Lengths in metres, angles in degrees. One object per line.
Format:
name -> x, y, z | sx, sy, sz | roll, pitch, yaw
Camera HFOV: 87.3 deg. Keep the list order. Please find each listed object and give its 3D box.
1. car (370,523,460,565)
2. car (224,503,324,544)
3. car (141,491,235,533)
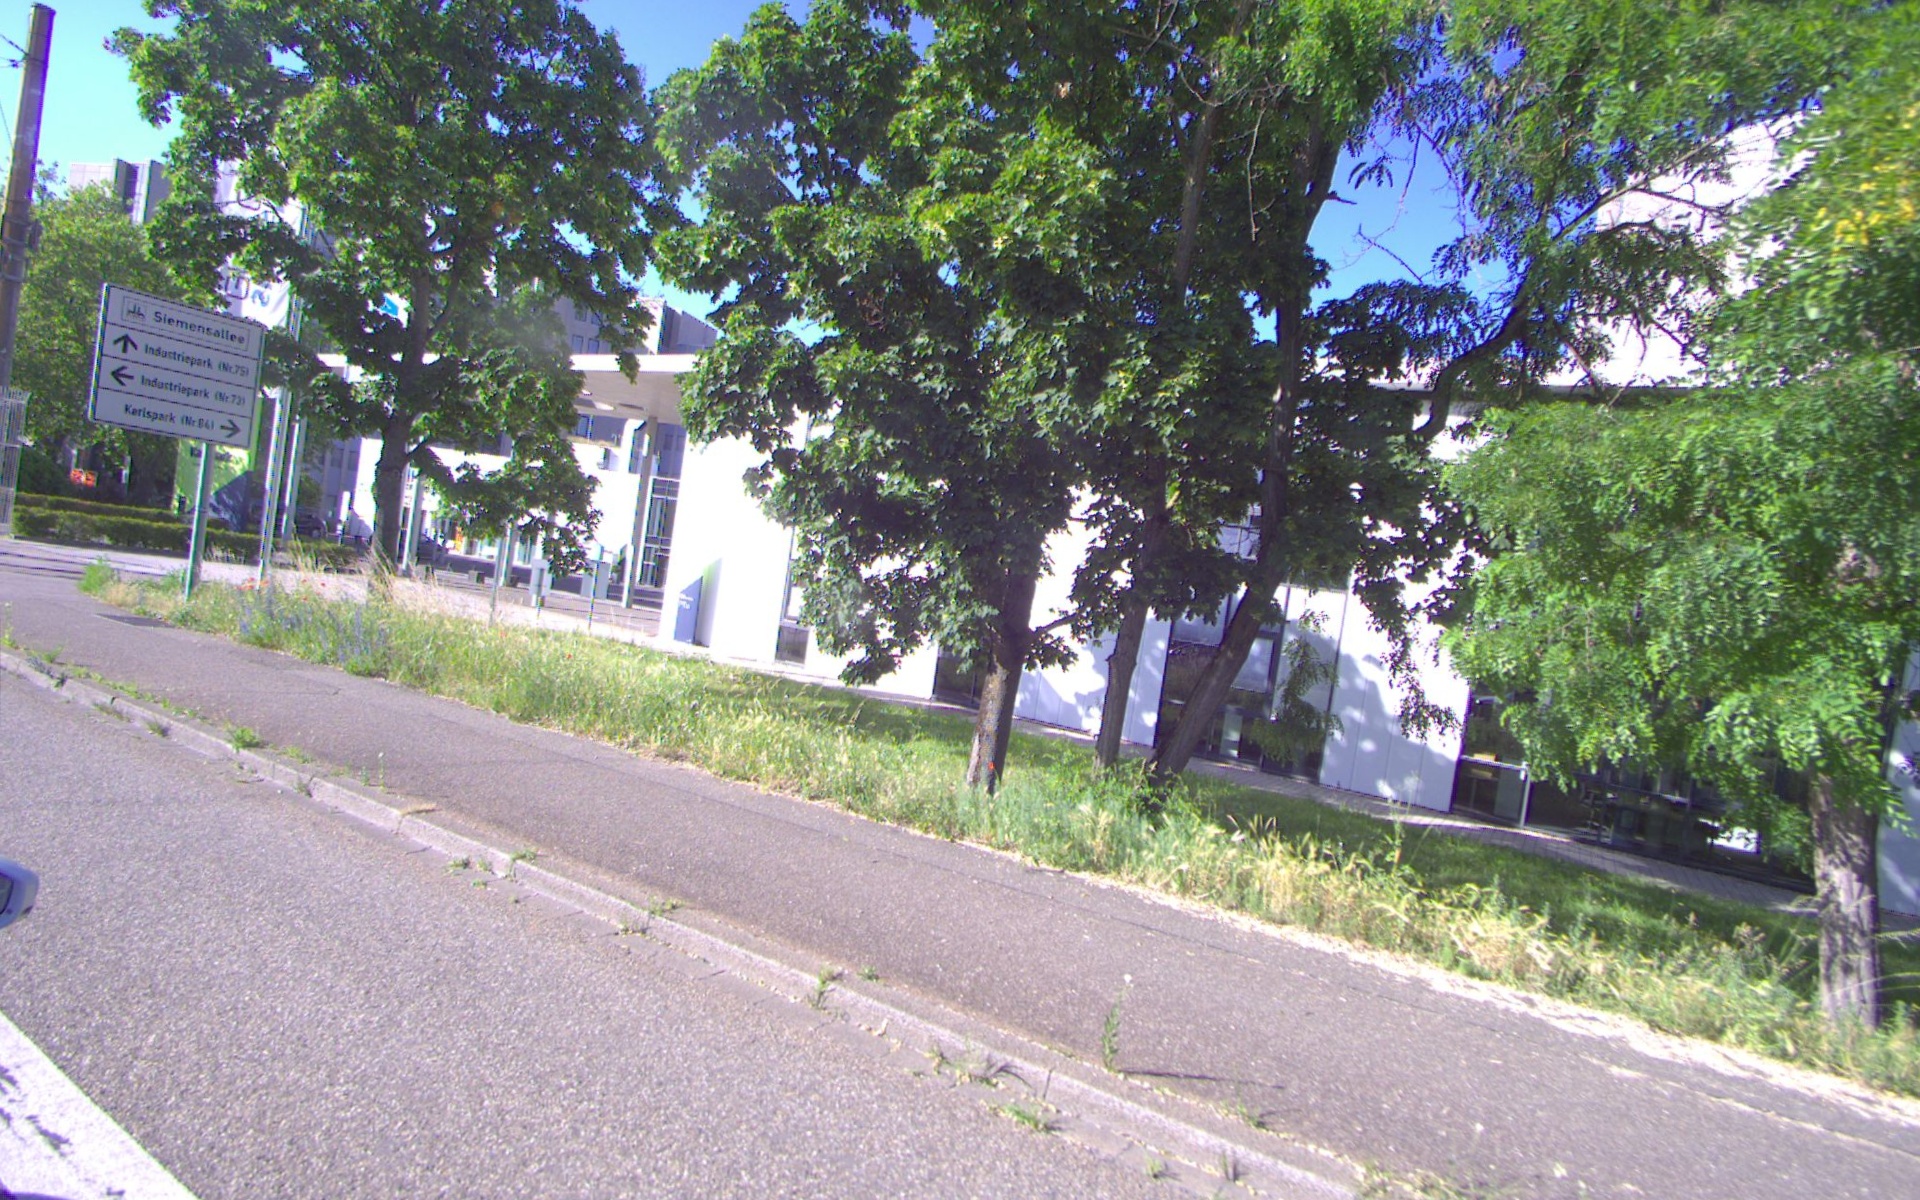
car -> -30.631, -3.122, 56.637 | 1.865, 1.741, 4.000 | 8, -1, 23
car -> -40.530, -4.509, 59.549 | 1.841, 1.649, 4.553 | 7, -1, 19
car -> -47.245, -5.368, 61.646 | 1.963, 1.778, 4.002 | 8, -1, 19
